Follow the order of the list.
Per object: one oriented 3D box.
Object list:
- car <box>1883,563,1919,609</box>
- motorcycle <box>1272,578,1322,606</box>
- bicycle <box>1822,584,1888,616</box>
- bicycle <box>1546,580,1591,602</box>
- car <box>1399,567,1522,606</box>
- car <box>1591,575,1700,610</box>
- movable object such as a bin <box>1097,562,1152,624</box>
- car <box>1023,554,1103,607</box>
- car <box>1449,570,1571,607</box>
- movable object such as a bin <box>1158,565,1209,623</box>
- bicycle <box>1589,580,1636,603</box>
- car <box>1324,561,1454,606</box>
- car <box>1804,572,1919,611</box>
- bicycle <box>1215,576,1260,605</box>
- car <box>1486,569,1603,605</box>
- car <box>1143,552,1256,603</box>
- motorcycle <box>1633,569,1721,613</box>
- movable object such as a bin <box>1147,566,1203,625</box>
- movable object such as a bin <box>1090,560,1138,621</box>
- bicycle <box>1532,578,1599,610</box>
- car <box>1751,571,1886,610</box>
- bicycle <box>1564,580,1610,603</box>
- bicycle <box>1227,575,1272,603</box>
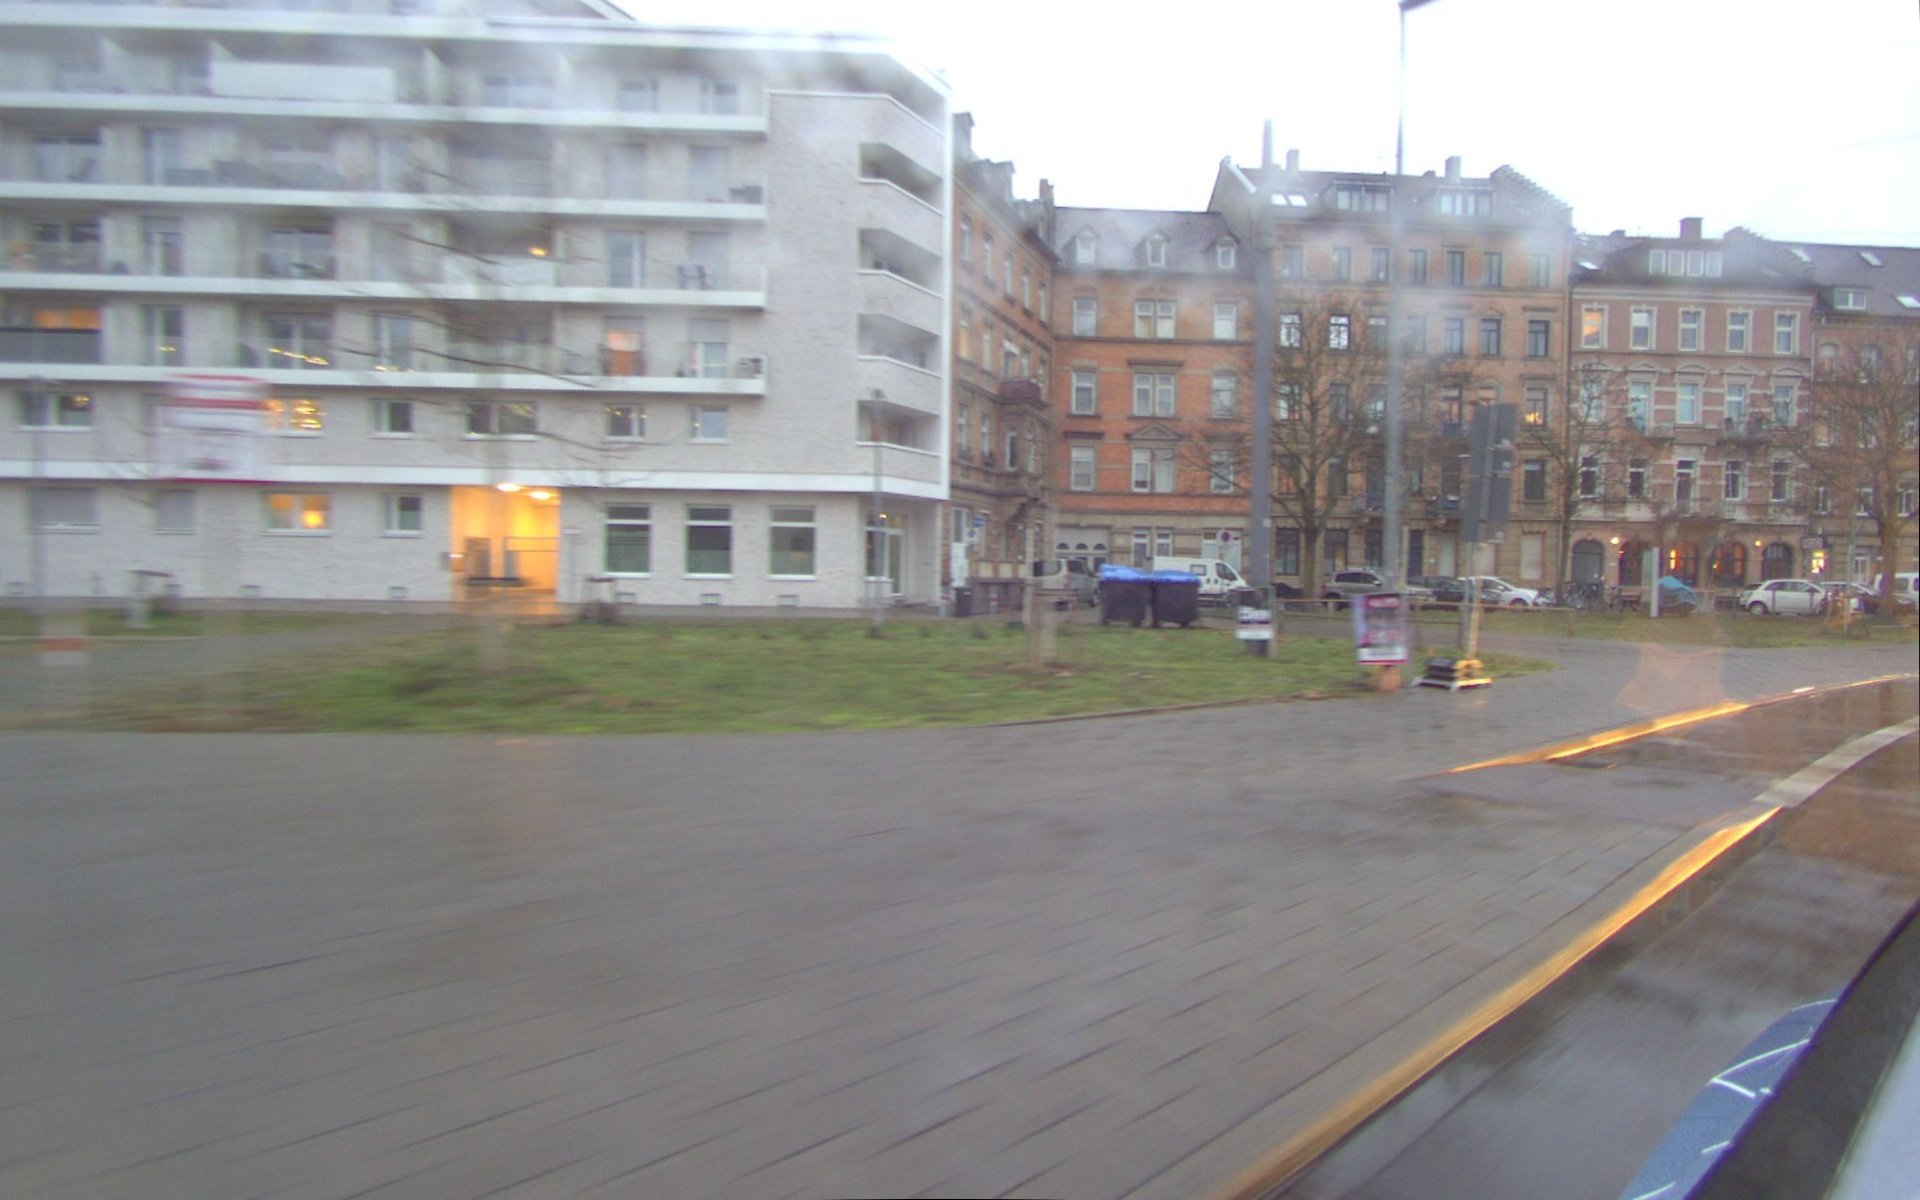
[{"bbox_3d":[38.905,-0.511,39.196,1.747,1.790,4.348,0,2,-33],"label":"car"},{"bbox_3d":[12.215,-0.300,36.737,0.503,0.942,1.797,-1,4,-33],"label":"motorcycle"},{"bbox_3d":[29.977,-0.006,33.941,0.437,0.942,1.798,1,3,-5],"label":"bicycle"},{"bbox_3d":[24.097,-0.365,40.107,0.437,0.804,1.800,1,3,-10],"label":"bicycle"},{"bbox_3d":[18.425,-0.524,37.382,1.709,1.322,3.690,0,2,-34],"label":"car"},{"bbox_3d":[27.543,-0.316,40.726,1.491,1.322,3.303,0,2,-32],"label":"car"},{"bbox_3d":[4.155,-0.190,25.718,1.230,1.529,1.053,1,1,2],"label":"movable object such as a bin"},{"bbox_3d":[4.163,-0.794,40.309,1.921,1.966,4.563,1,2,23],"label":"car"},{"bbox_3d":[20.702,-0.462,38.216,1.636,1.322,3.690,0,2,-34],"label":"car"},{"bbox_3d":[5.937,-0.176,26.985,1.119,1.504,1.053,1,1,2],"label":"movable object such as a bin"},{"bbox_3d":[25.929,-0.354,40.259,0.386,0.827,1.800,1,3,-13],"label":"bicycle"},{"bbox_3d":[15.816,-0.641,37.517,1.709,1.589,4.158,0,2,-34],"label":"car"},{"bbox_3d":[35.659,-0.353,39.655,1.491,1.454,3.691,0,2,-32],"label":"car"},{"bbox_3d":[10.061,-0.351,36.718,0.437,0.942,1.799,0,4,-27],"label":"bicycle"},{"bbox_3d":[22.754,-0.522,39.506,1.492,1.322,3.690,0,2,-34],"label":"car"},{"bbox_3d":[10.794,-1.027,45.826,4.568,2.216,2.002,1,1,-5],"label":"car"},{"bbox_3d":[24.861,-0.339,35.160,0.866,1.362,2.365,-1,5,-19],"label":"motorcycle"},{"bbox_3d":[5.492,-0.132,25.889,1.202,1.450,1.053,1,1,2],"label":"movable object such as a bin"},{"bbox_3d":[4.141,-0.263,27.302,1.119,1.595,1.053,1,1,2],"label":"movable object such as a bin"},{"bbox_3d":[21.028,-0.220,35.192,1.881,1.031,0.534,2,3,17],"label":"bicycle"},{"bbox_3d":[33.040,-0.410,39.060,1.491,1.417,3.691,0,2,-32],"label":"car"},{"bbox_3d":[24.772,-0.345,40.004,0.437,0.787,1.800,1,3,-10],"label":"bicycle"},{"bbox_3d":[10.565,-0.412,36.993,0.437,0.942,1.799,0,4,-27],"label":"bicycle"}]
